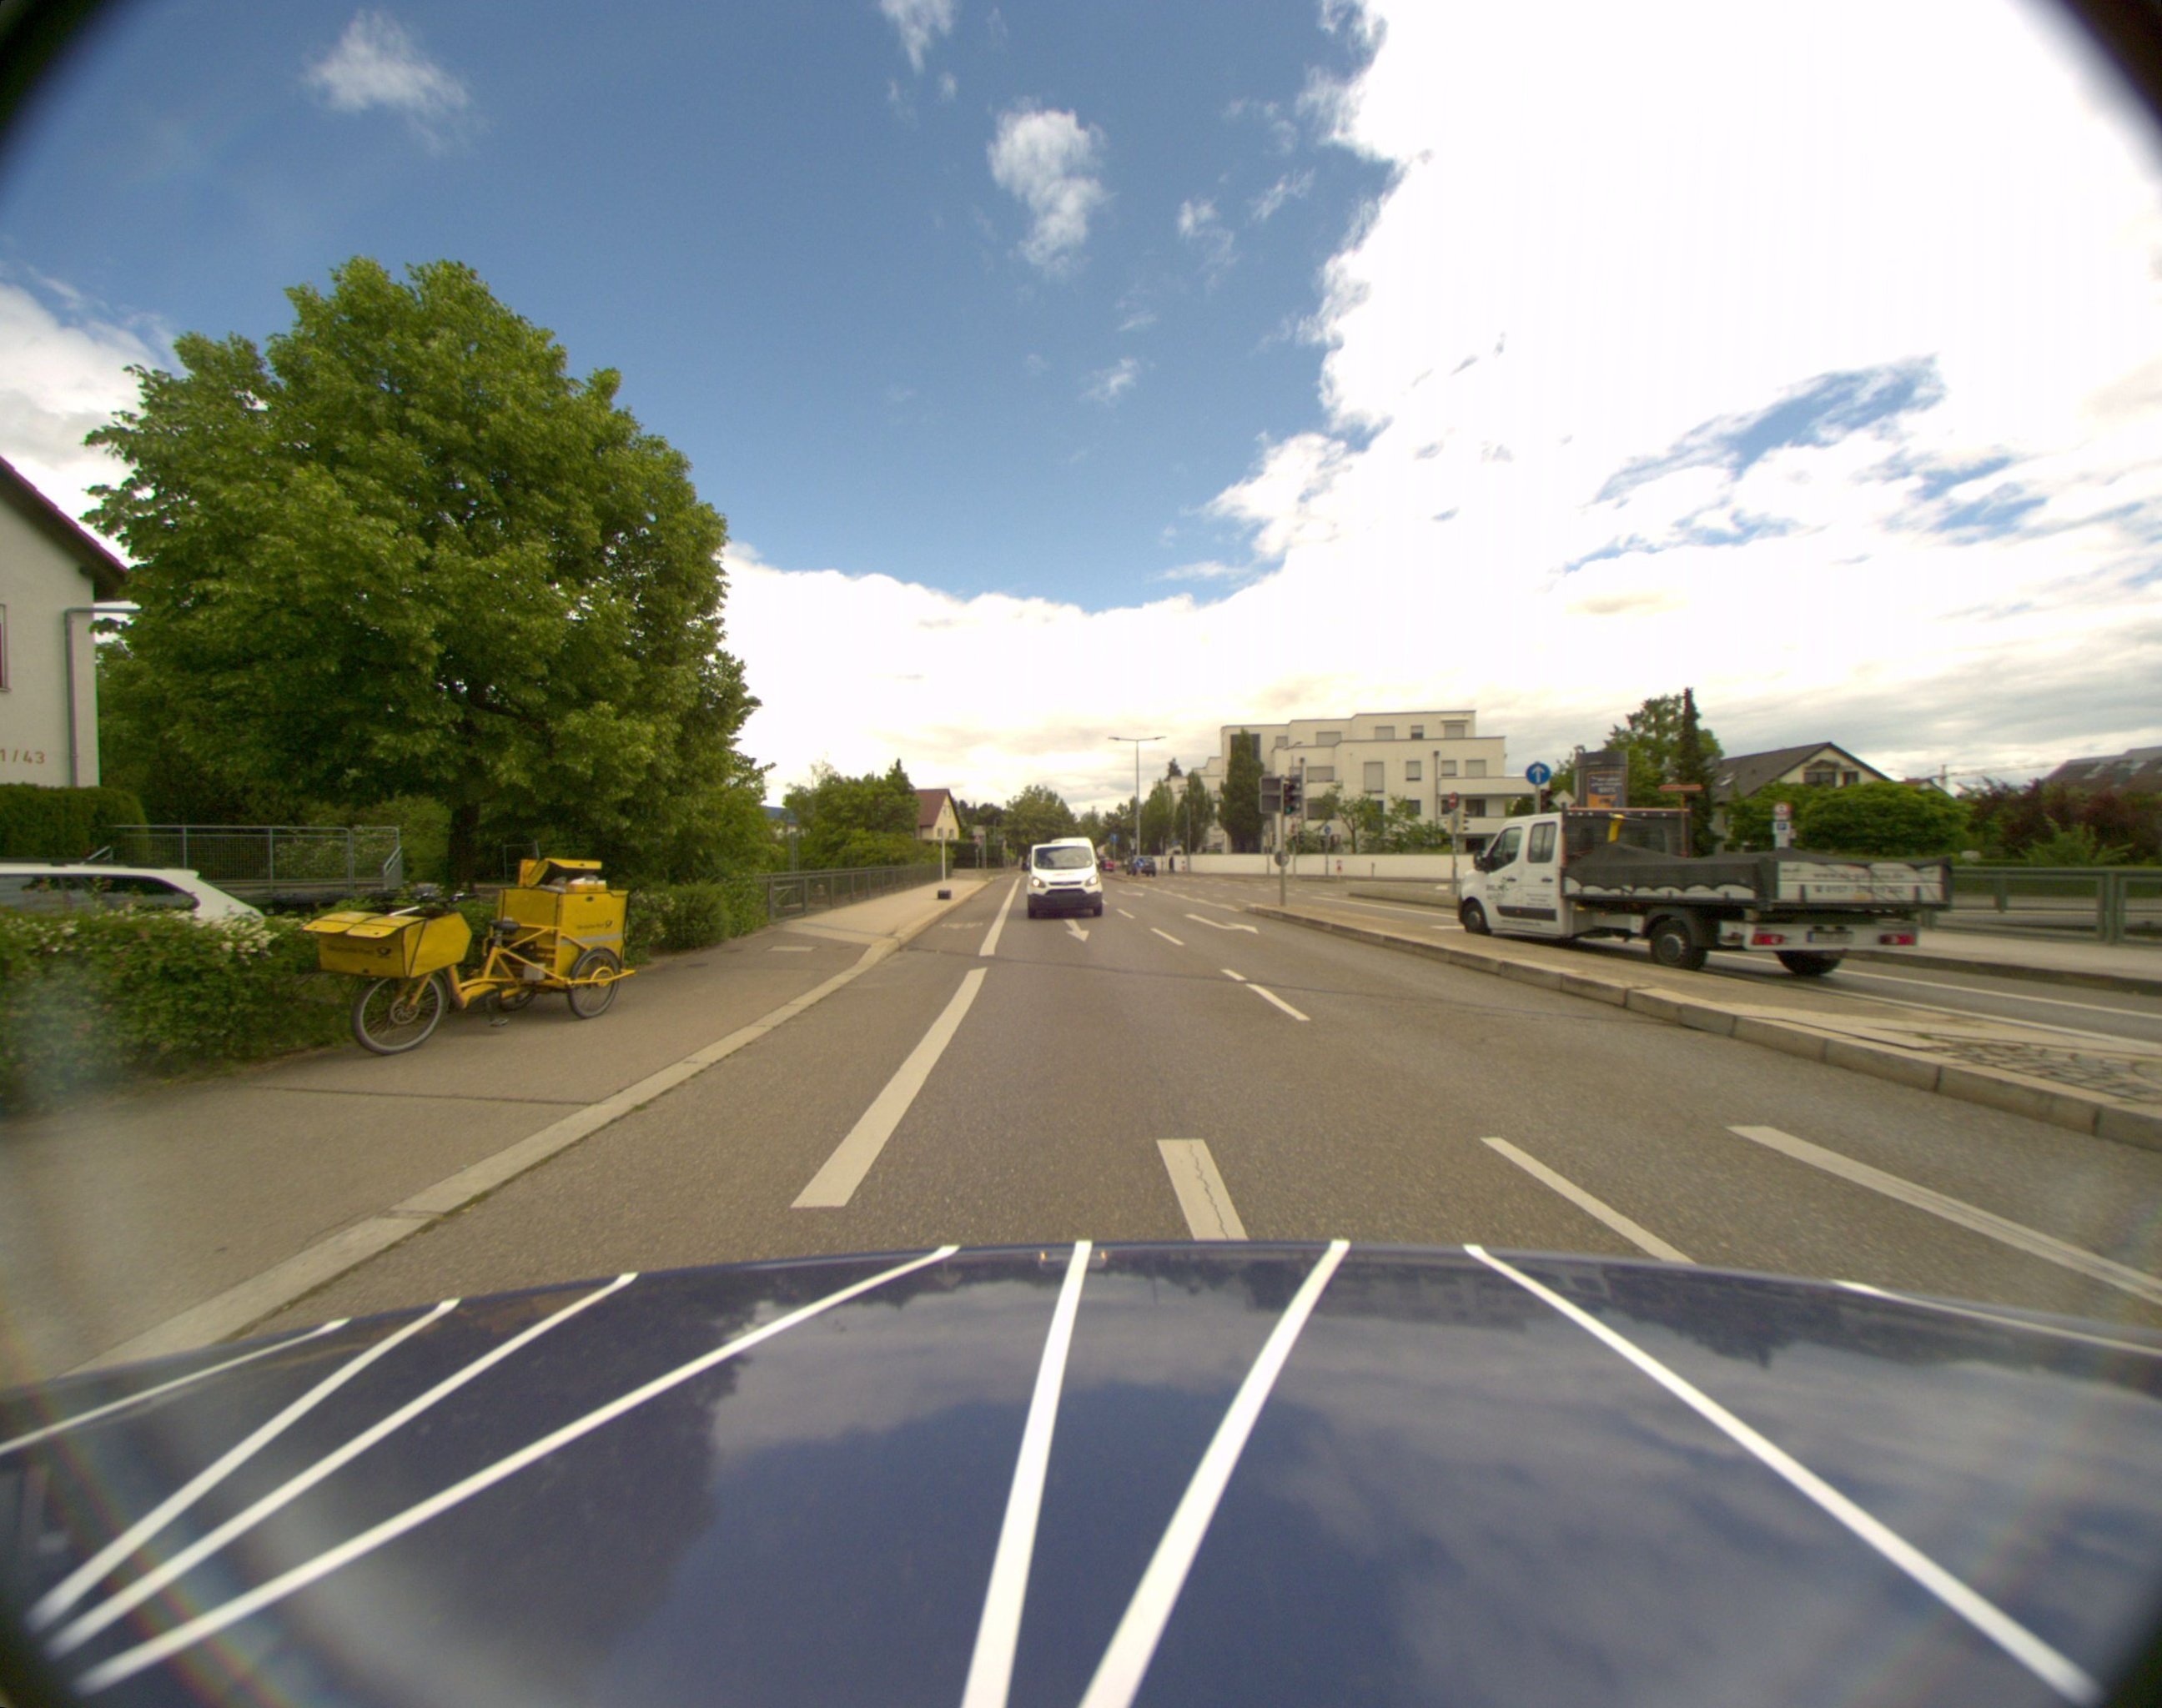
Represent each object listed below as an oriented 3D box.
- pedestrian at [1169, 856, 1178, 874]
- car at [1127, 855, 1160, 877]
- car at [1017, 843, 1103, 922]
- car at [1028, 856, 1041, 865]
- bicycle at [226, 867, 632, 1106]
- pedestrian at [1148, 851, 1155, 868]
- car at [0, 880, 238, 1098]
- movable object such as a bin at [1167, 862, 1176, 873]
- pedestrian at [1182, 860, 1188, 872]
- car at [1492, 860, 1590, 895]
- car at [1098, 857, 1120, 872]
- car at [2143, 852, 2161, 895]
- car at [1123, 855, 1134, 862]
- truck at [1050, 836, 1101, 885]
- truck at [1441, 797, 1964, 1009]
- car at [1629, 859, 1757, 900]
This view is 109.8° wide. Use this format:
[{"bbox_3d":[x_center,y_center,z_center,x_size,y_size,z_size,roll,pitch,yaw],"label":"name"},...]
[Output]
[{"bbox_3d":[8.317,0.995,68.626,0.533,1.534,0.731,-5,1,-6],"label":"pedestrian"},{"bbox_3d":[4.862,0.946,59.656,1.828,1.617,4.276,1,0,-5],"label":"car"},{"bbox_3d":[-0.437,0.721,21.732,2.075,1.956,5.558,-1,0,2],"label":"car"},{"bbox_3d":[-6.566,0.926,107.549,1.561,1.343,3.541,1,0,2],"label":"car"},{"bbox_3d":[-5.161,0.902,6.440,0.893,1.501,2.783,4,0,2],"label":"bicycle"},{"bbox_3d":[8.218,0.691,88.595,0.650,1.936,0.871,-3,1,-3],"label":"pedestrian"},{"bbox_3d":[-8.455,0.937,4.689,1.673,1.495,4.064,-1,-1,10],"label":"car"},{"bbox_3d":[8.275,1.266,69.473,0.498,0.954,0.986,-5,1,-6],"label":"movable object such as a bin"},{"bbox_3d":[9.163,1.084,66.993,0.326,1.056,0.444,-4,1,-5],"label":"pedestrian"},{"bbox_3d":[21.698,1.059,35.893,3.692,1.438,1.779,2,2,40],"label":"car"},{"bbox_3d":[2.953,1.089,80.843,1.725,1.439,4.064,1,0,-5],"label":"car"},{"bbox_3d":[43.323,0.783,29.498,4.007,1.571,1.782,-3,0,-45],"label":"car"},{"bbox_3d":[10.318,0.980,164.960,1.915,1.643,4.003,0,0,9],"label":"car"},{"bbox_3d":[-0.415,0.350,43.480,2.037,2.555,6.053,1,0,-8],"label":"truck"},{"bbox_3d":[8.262,0.520,11.515,2.131,2.251,6.803,0,0,-3],"label":"truck"},{"bbox_3d":[25.879,1.050,32.223,4.117,1.526,1.651,2,0,42],"label":"car"}]
